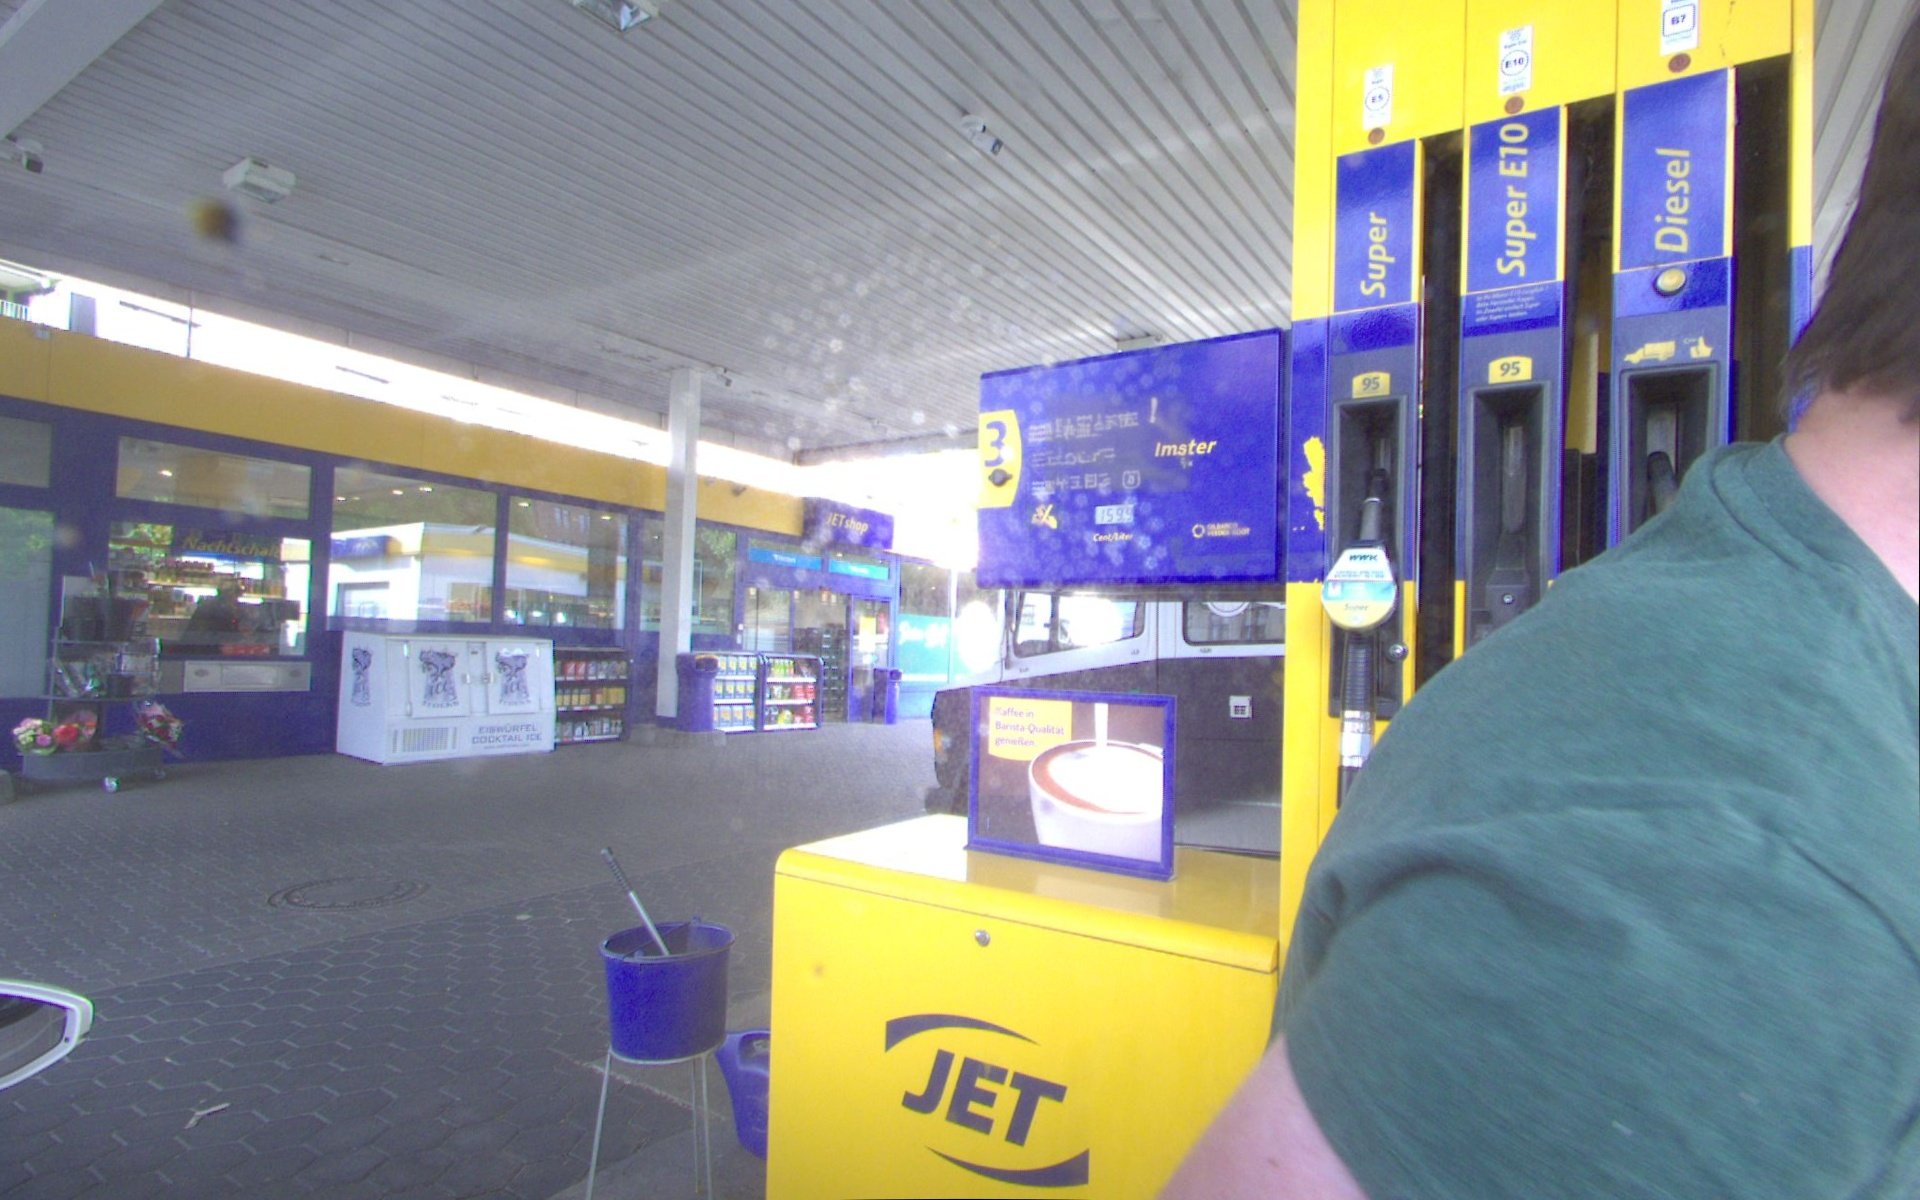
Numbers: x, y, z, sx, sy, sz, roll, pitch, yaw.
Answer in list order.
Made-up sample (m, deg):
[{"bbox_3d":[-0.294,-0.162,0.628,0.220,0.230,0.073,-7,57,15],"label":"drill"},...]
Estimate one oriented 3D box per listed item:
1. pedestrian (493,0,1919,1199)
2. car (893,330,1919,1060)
[{"bbox_3d":[0.539,0.562,0.538,1.167,1.750,0.988,-2,-2,35],"label":"pedestrian"},{"bbox_3d":[2.356,0.436,6.001,5.271,2.759,2.193,-1,-3,34],"label":"car"}]
